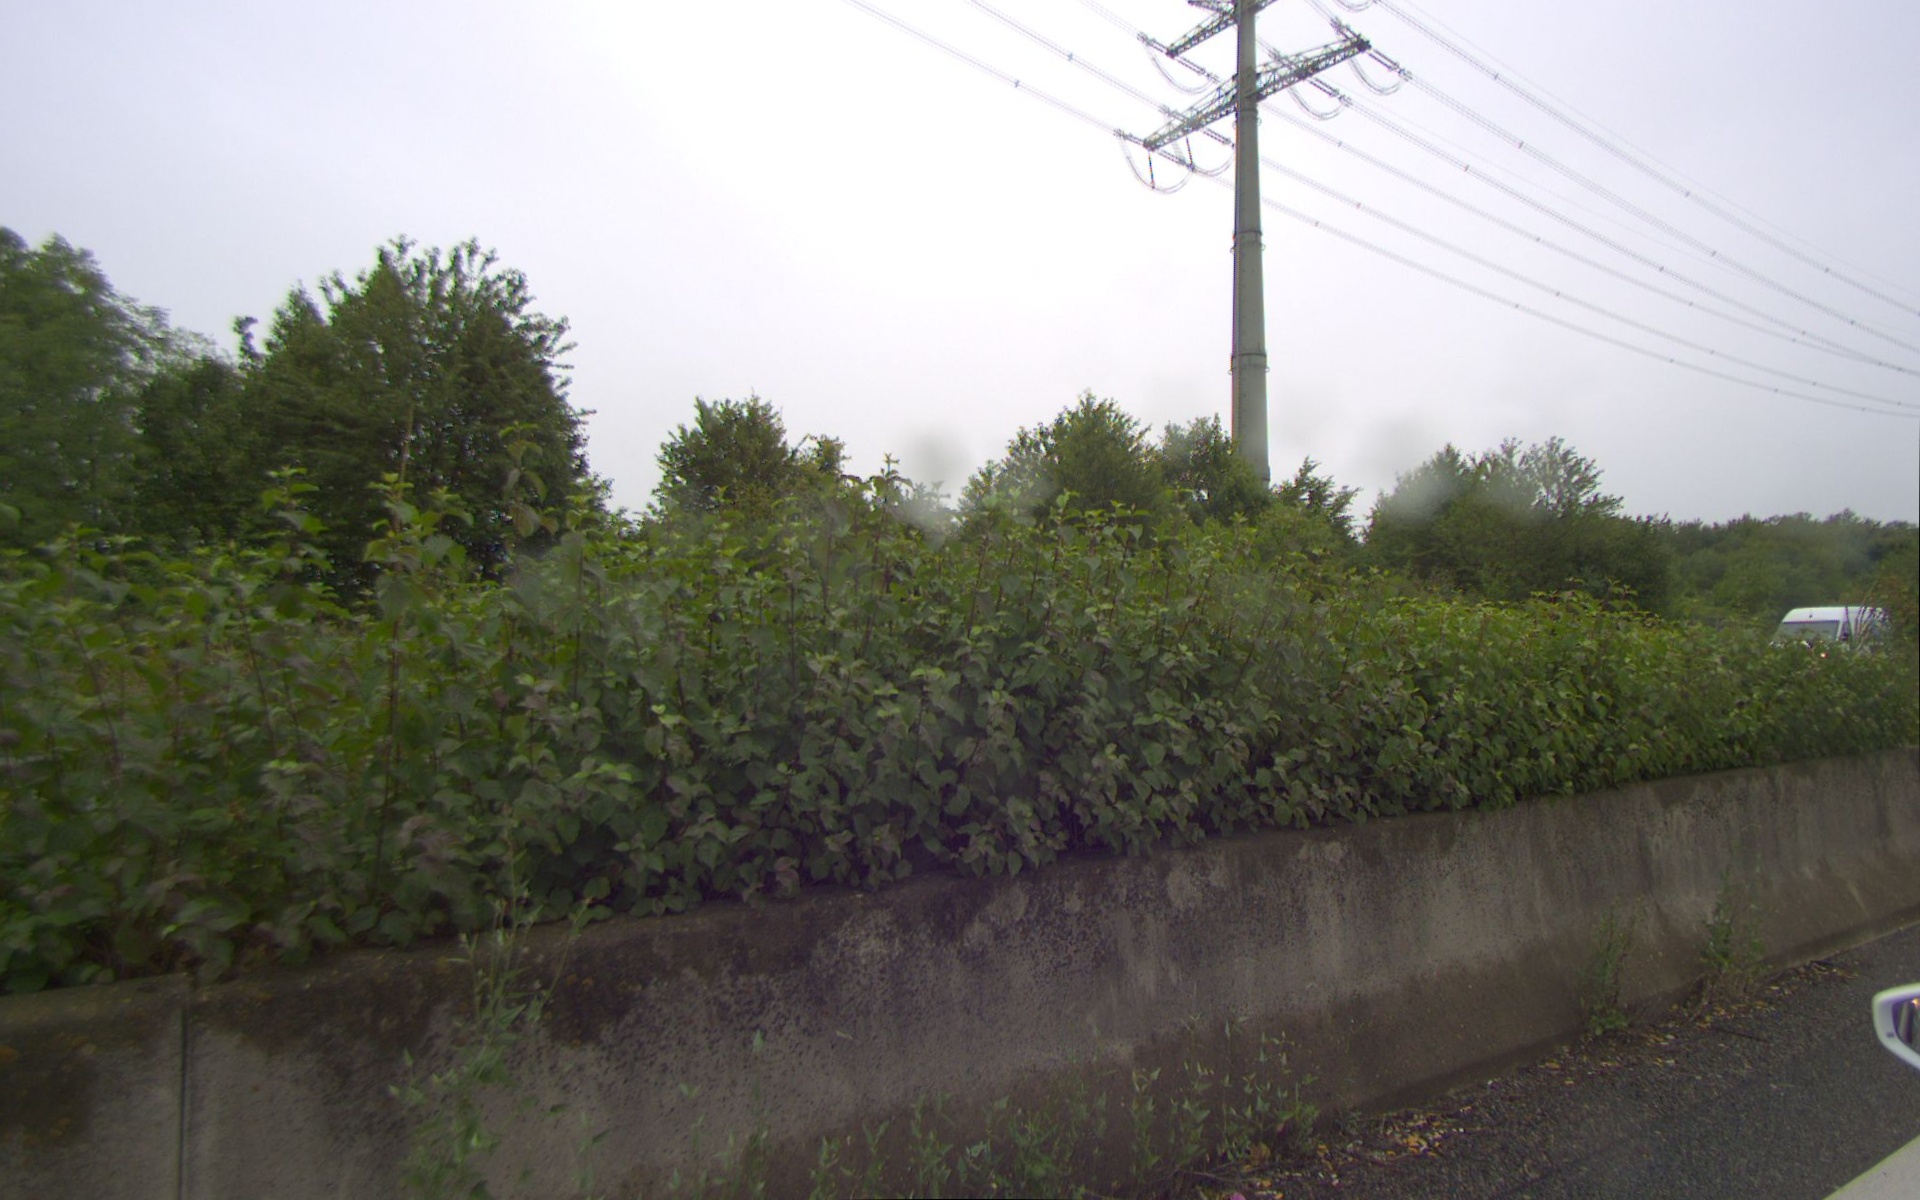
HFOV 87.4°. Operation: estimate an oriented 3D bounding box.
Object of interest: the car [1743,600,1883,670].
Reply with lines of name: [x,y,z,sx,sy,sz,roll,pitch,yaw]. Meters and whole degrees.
car: [29.889,1.213,35.175,5.142,2.295,2.170,1,-1,-30]
